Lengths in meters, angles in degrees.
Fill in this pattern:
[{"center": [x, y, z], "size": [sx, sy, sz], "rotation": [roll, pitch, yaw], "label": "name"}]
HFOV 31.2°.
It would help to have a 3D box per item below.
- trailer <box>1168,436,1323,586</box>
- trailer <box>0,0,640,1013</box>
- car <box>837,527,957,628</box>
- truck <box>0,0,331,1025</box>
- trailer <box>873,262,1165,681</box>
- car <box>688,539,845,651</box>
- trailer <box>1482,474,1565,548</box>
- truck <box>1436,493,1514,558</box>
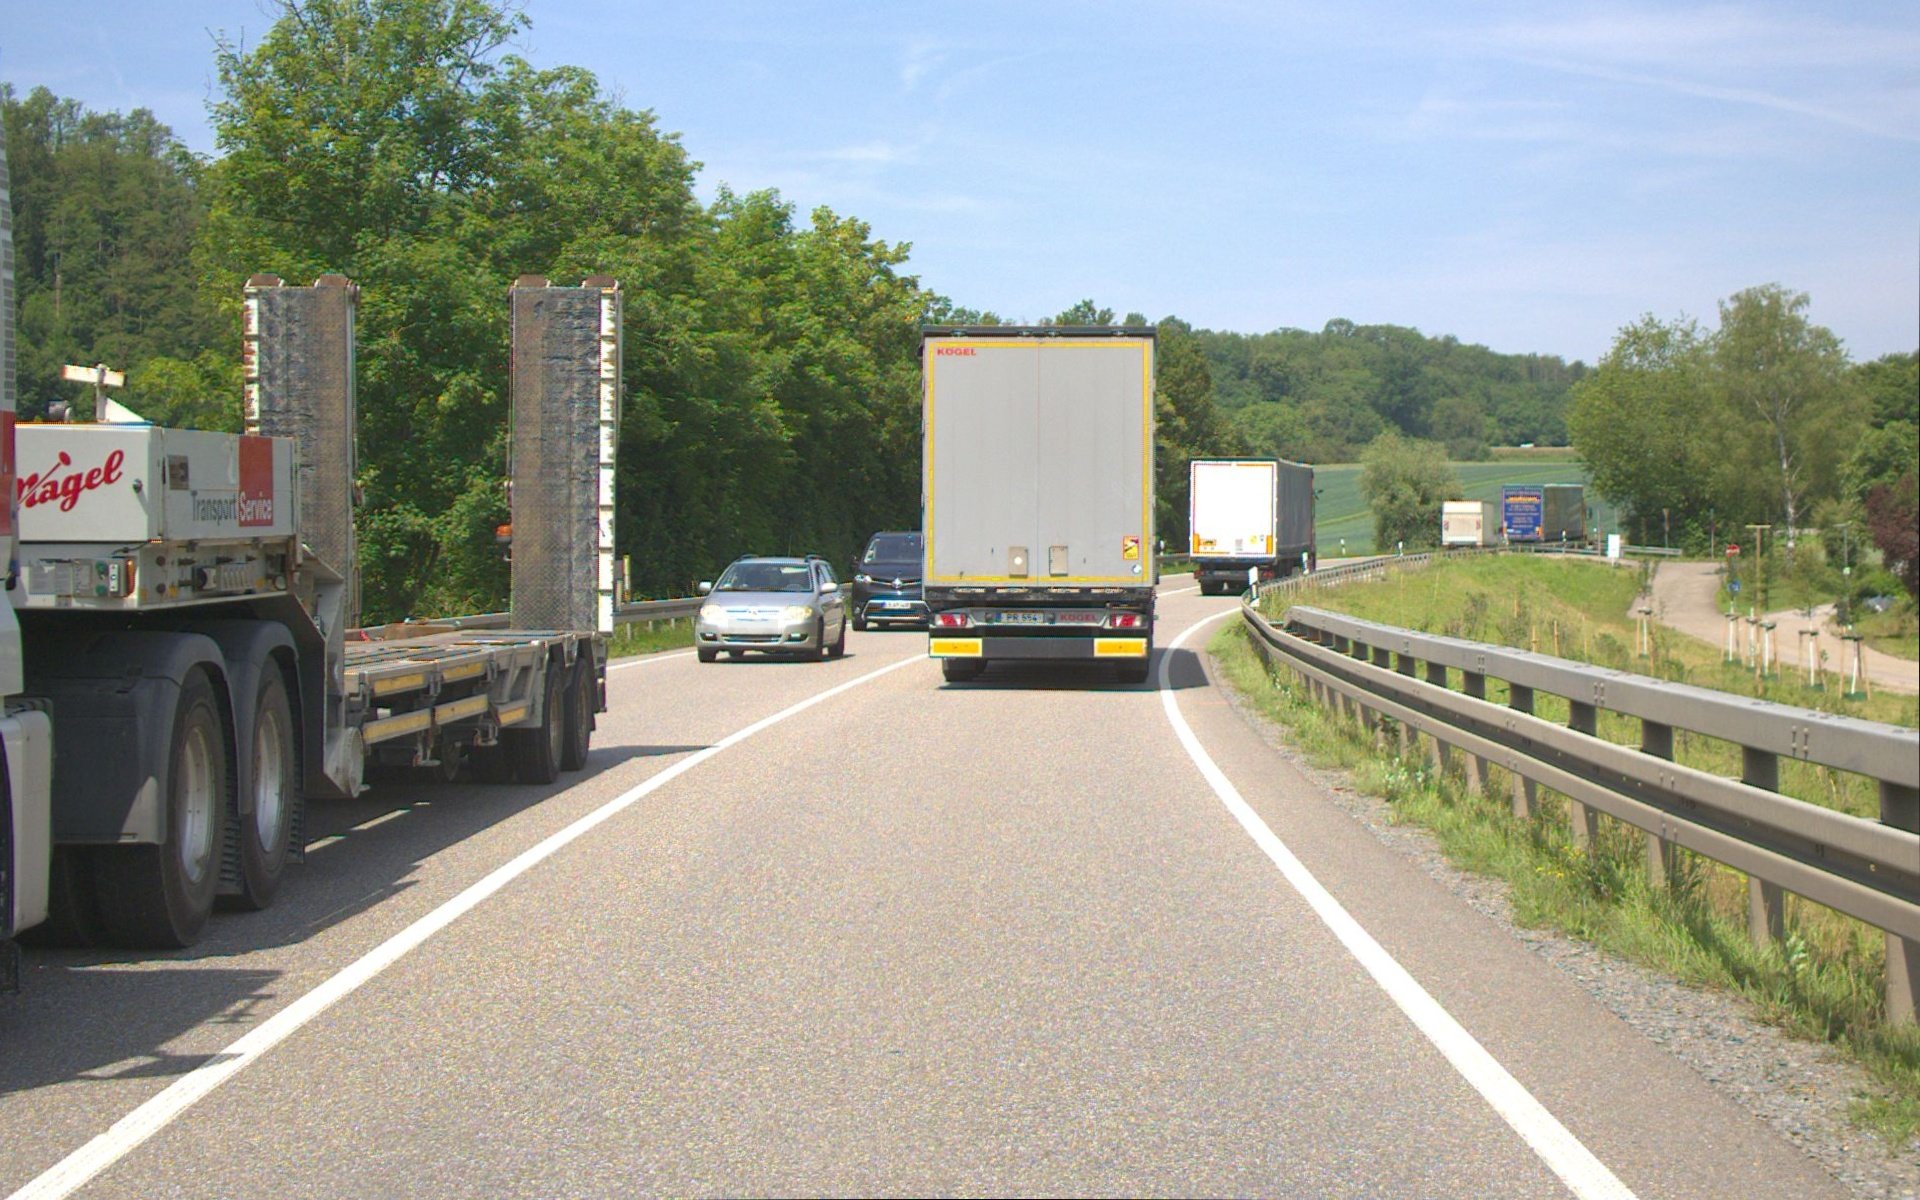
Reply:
[{"center": [8.943, -2.609, 105.909], "size": [3.366, 4.302, 13.858], "rotation": [0, 0, 11], "label": "trailer"}, {"center": [-4.165, -0.858, 18.062], "size": [3.118, 3.966, 15.356], "rotation": [0, 1, 2], "label": "trailer"}, {"center": [-1.167, -0.458, 66.140], "size": [1.922, 1.853, 5.175], "rotation": [0, 1, 3], "label": "car"}, {"center": [-4.339, -0.752, 11.549], "size": [3.118, 3.944, 6.622], "rotation": [0, 1, 1], "label": "truck"}, {"center": [0.907, -1.545, 43.956], "size": [3.118, 4.484, 13.886], "rotation": [0, 1, 2], "label": "trailer"}, {"center": [-2.677, -0.094, 48.401], "size": [1.768, 1.489, 4.170], "rotation": [0, 1, 3], "label": "car"}, {"center": [34.250, -5.313, 208.528], "size": [3.650, 4.248, 12.186], "rotation": [0, 0, 15], "label": "trailer"}, {"center": [28.061, -4.006, 186.885], "size": [3.224, 3.354, 11.868], "rotation": [0, 0, 13], "label": "truck"}]
